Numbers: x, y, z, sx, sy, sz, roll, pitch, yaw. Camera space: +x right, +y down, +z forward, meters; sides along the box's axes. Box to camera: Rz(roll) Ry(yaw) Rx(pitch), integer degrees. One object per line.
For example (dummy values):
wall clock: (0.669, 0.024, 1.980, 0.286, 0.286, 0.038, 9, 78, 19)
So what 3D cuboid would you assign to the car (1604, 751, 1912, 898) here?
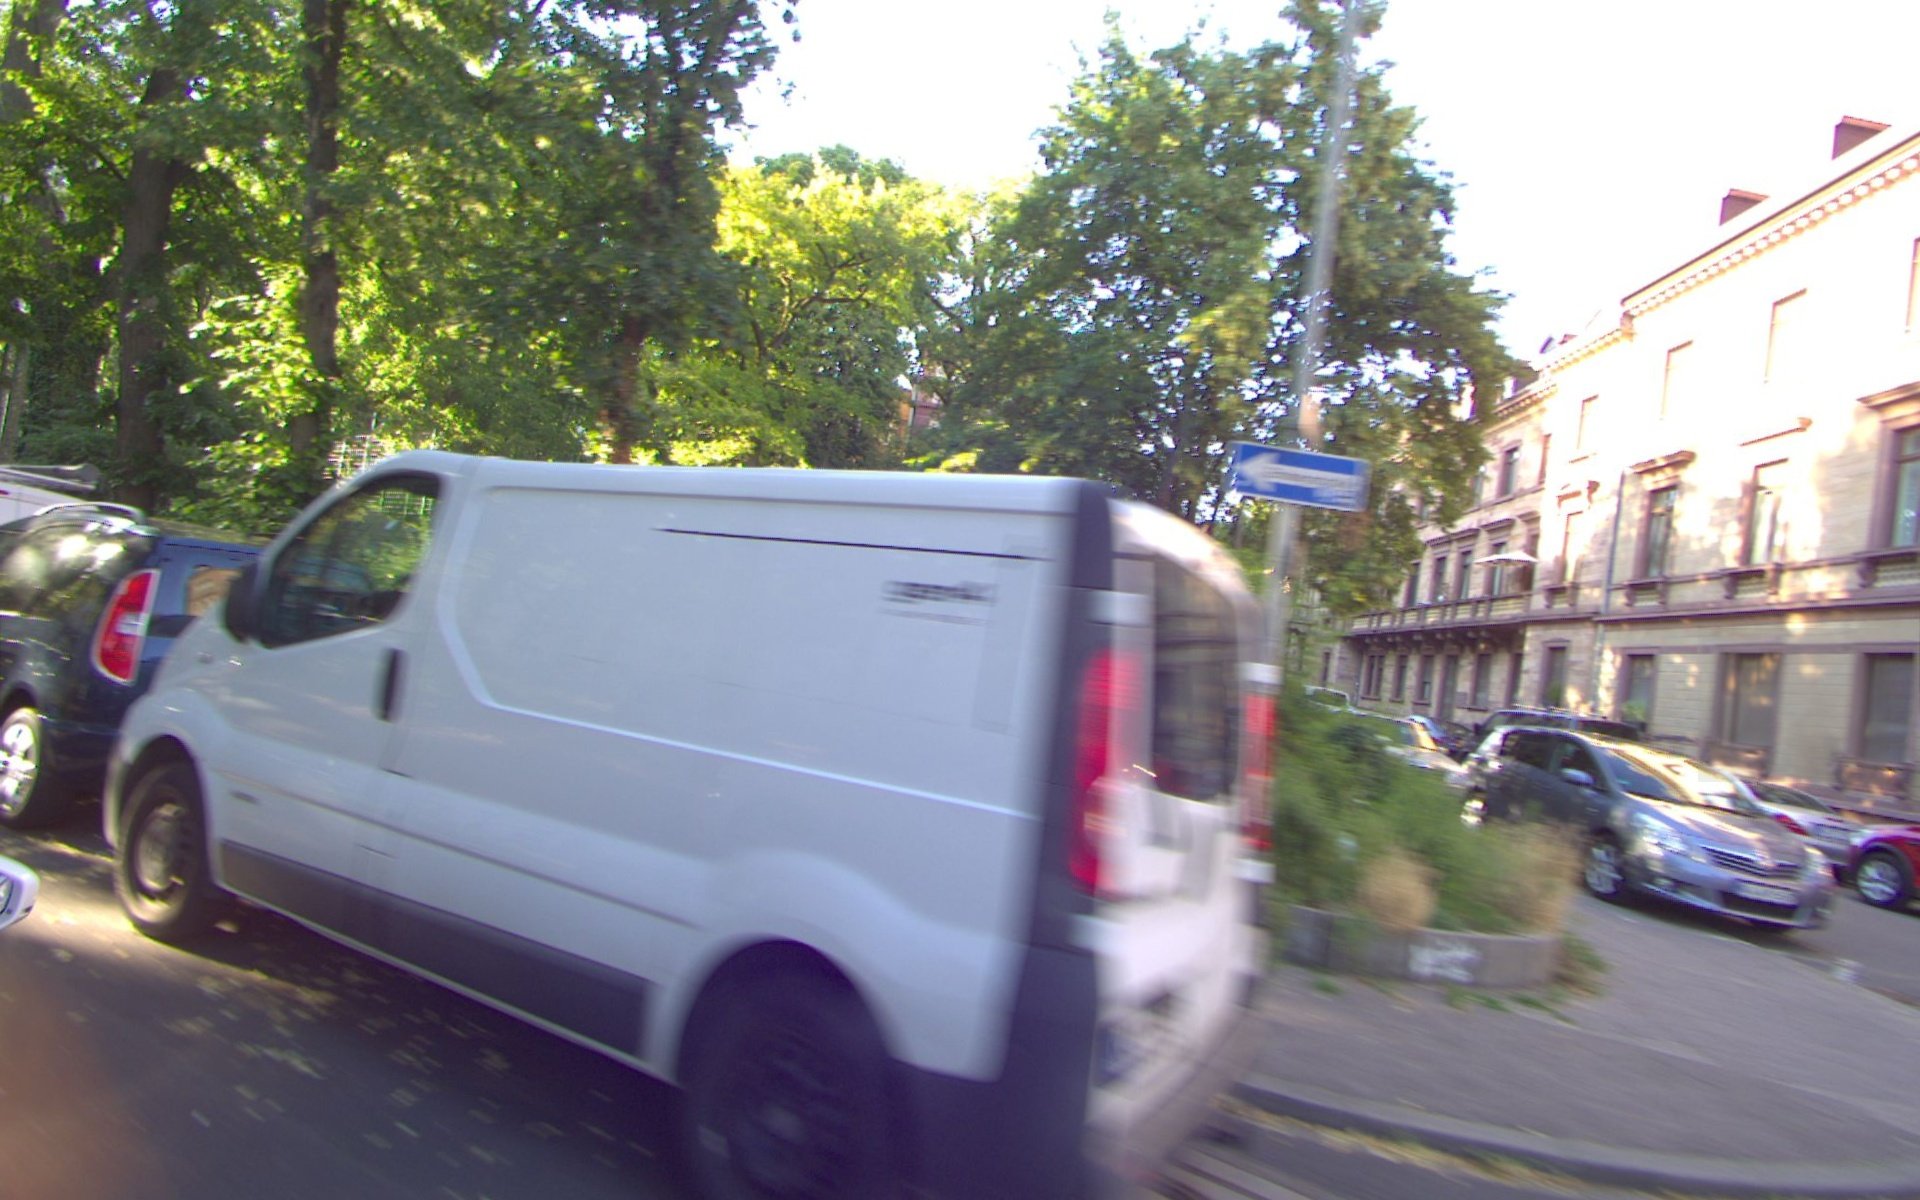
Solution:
car: (12.651, 3.500, 16.337, 1.771, 1.359, 3.959, 11, -2, 3)

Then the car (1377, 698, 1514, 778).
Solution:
car: (13.314, 3.743, 27.867, 1.771, 1.540, 3.959, 11, -2, 3)

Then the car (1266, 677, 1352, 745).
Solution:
car: (13.485, 4.264, 39.128, 1.771, 2.094, 3.959, 11, -2, 3)

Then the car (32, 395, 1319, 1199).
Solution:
car: (-1.248, 0.498, 3.941, 4.579, 2.026, 1.950, 7, -2, 28)

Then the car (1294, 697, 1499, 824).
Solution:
car: (7.452, 2.688, 17.626, 1.799, 1.462, 3.936, 11, -2, 3)

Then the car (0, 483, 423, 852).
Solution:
car: (-5.267, 0.234, 6.225, 3.649, 1.656, 1.575, 7, -2, 30)

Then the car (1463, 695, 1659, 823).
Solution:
car: (13.172, 3.414, 22.375, 1.771, 2.094, 3.959, 11, -2, 3)

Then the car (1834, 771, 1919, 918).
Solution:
car: (12.508, 3.143, 11.261, 1.772, 1.631, 3.958, 11, -2, 0)

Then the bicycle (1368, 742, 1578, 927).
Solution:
bicycle: (4.462, 1.981, 9.026, 0.587, 1.113, 2.631, 8, -3, 5)

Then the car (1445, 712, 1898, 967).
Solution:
car: (7.291, 2.337, 10.999, 1.799, 1.632, 4.296, 11, -2, 3)

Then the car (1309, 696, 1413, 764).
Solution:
car: (13.263, 4.263, 33.530, 1.771, 1.640, 3.959, 11, -2, 3)

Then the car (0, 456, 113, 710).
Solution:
car: (-9.075, -0.341, 8.573, 3.838, 1.925, 1.574, 7, -2, 32)
